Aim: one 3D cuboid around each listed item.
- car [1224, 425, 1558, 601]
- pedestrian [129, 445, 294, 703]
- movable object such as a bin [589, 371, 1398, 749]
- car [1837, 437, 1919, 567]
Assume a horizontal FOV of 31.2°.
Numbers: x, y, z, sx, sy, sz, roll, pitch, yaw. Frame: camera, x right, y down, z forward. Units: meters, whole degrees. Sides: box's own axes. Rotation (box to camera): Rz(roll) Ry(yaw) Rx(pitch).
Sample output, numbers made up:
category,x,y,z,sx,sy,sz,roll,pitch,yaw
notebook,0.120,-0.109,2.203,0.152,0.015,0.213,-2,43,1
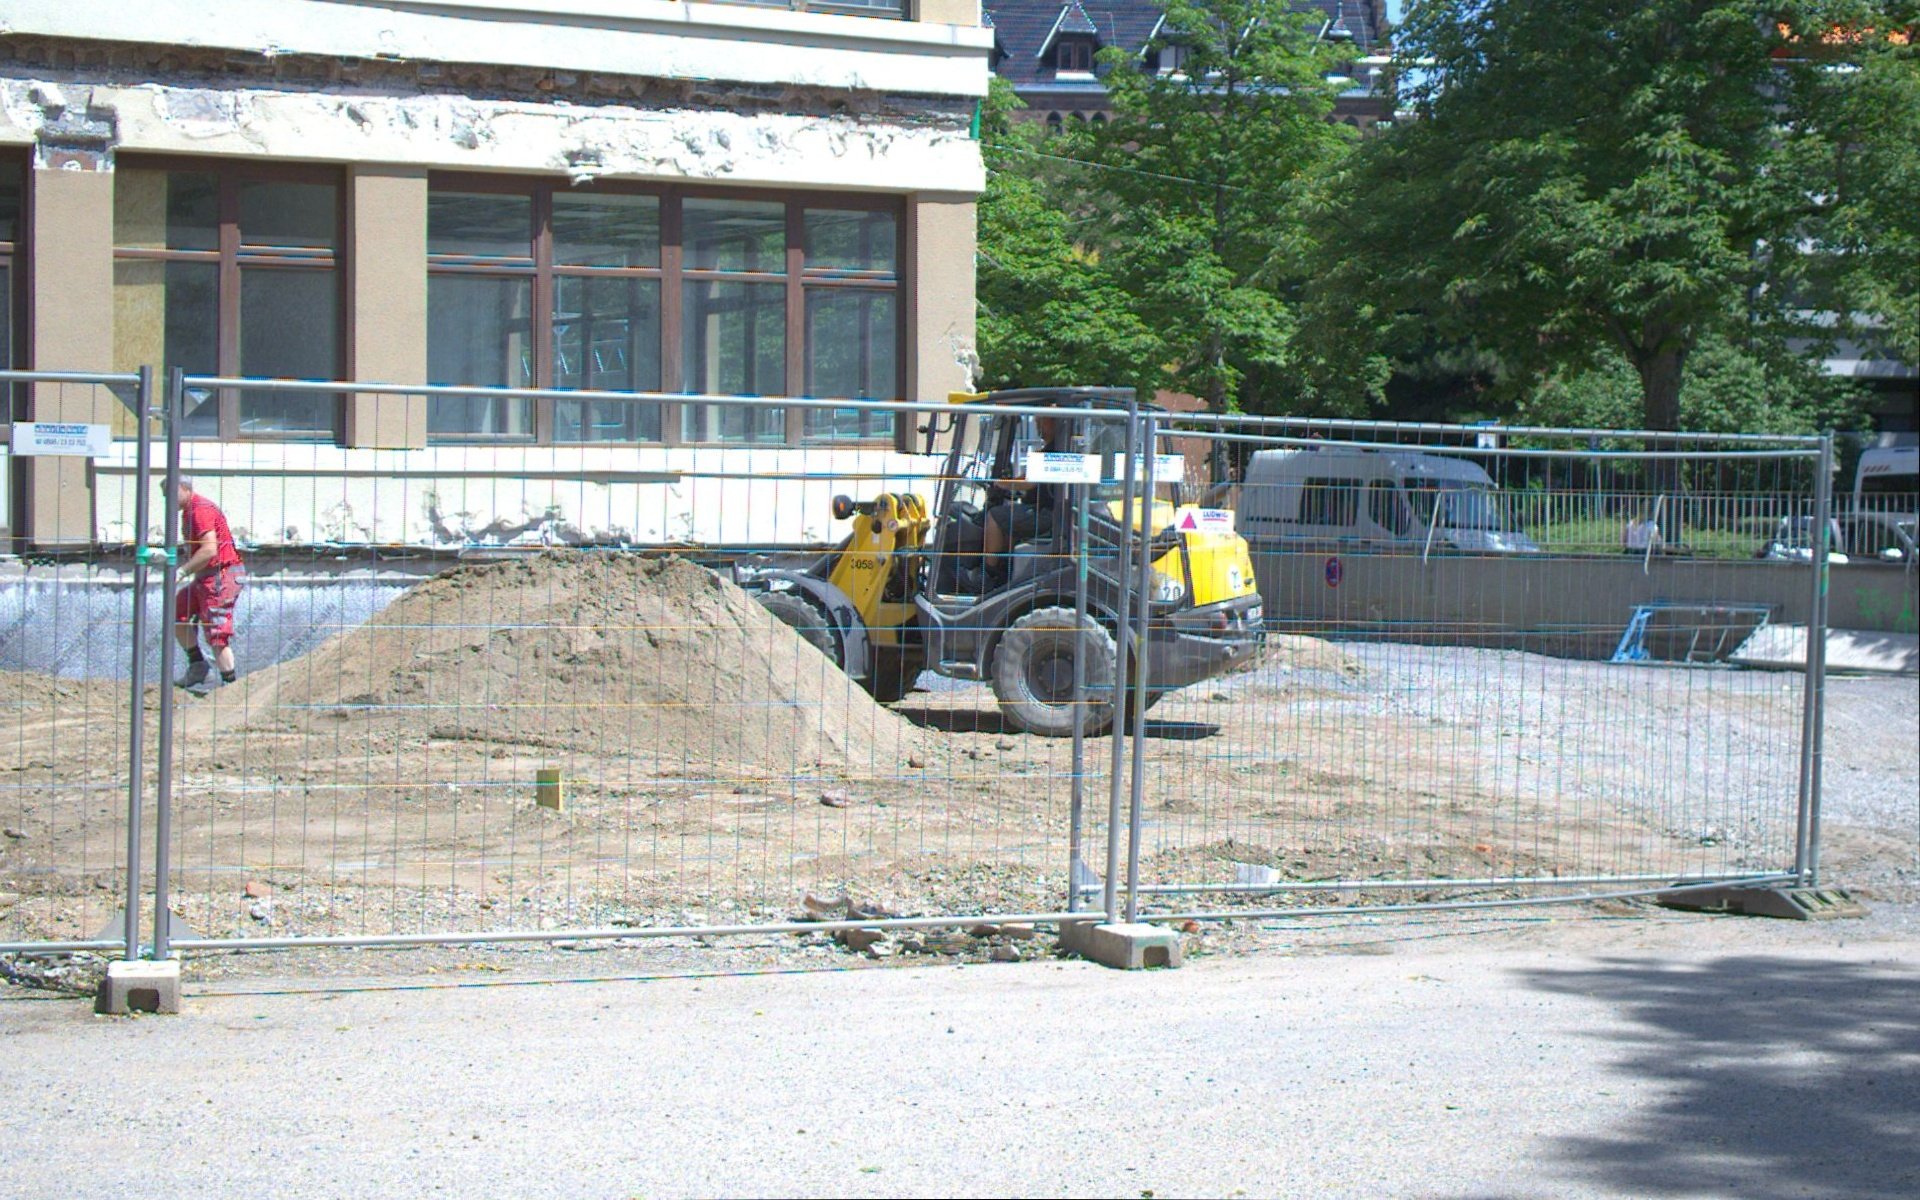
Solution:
category,x,y,z,sx,sy,sz,roll,pitch,yaw
car,6.155,-1.253,49.740,1.993,2.408,5.244,0,1,-30
pedestrian,-5.489,-0.200,25.190,0.983,1.840,0.917,0,1,-27
movable object such as a bin,0.264,-0.356,25.330,5.409,2.455,2.365,3,2,21
car,17.174,-1.757,61.946,2.186,2.250,4.864,1,1,20
